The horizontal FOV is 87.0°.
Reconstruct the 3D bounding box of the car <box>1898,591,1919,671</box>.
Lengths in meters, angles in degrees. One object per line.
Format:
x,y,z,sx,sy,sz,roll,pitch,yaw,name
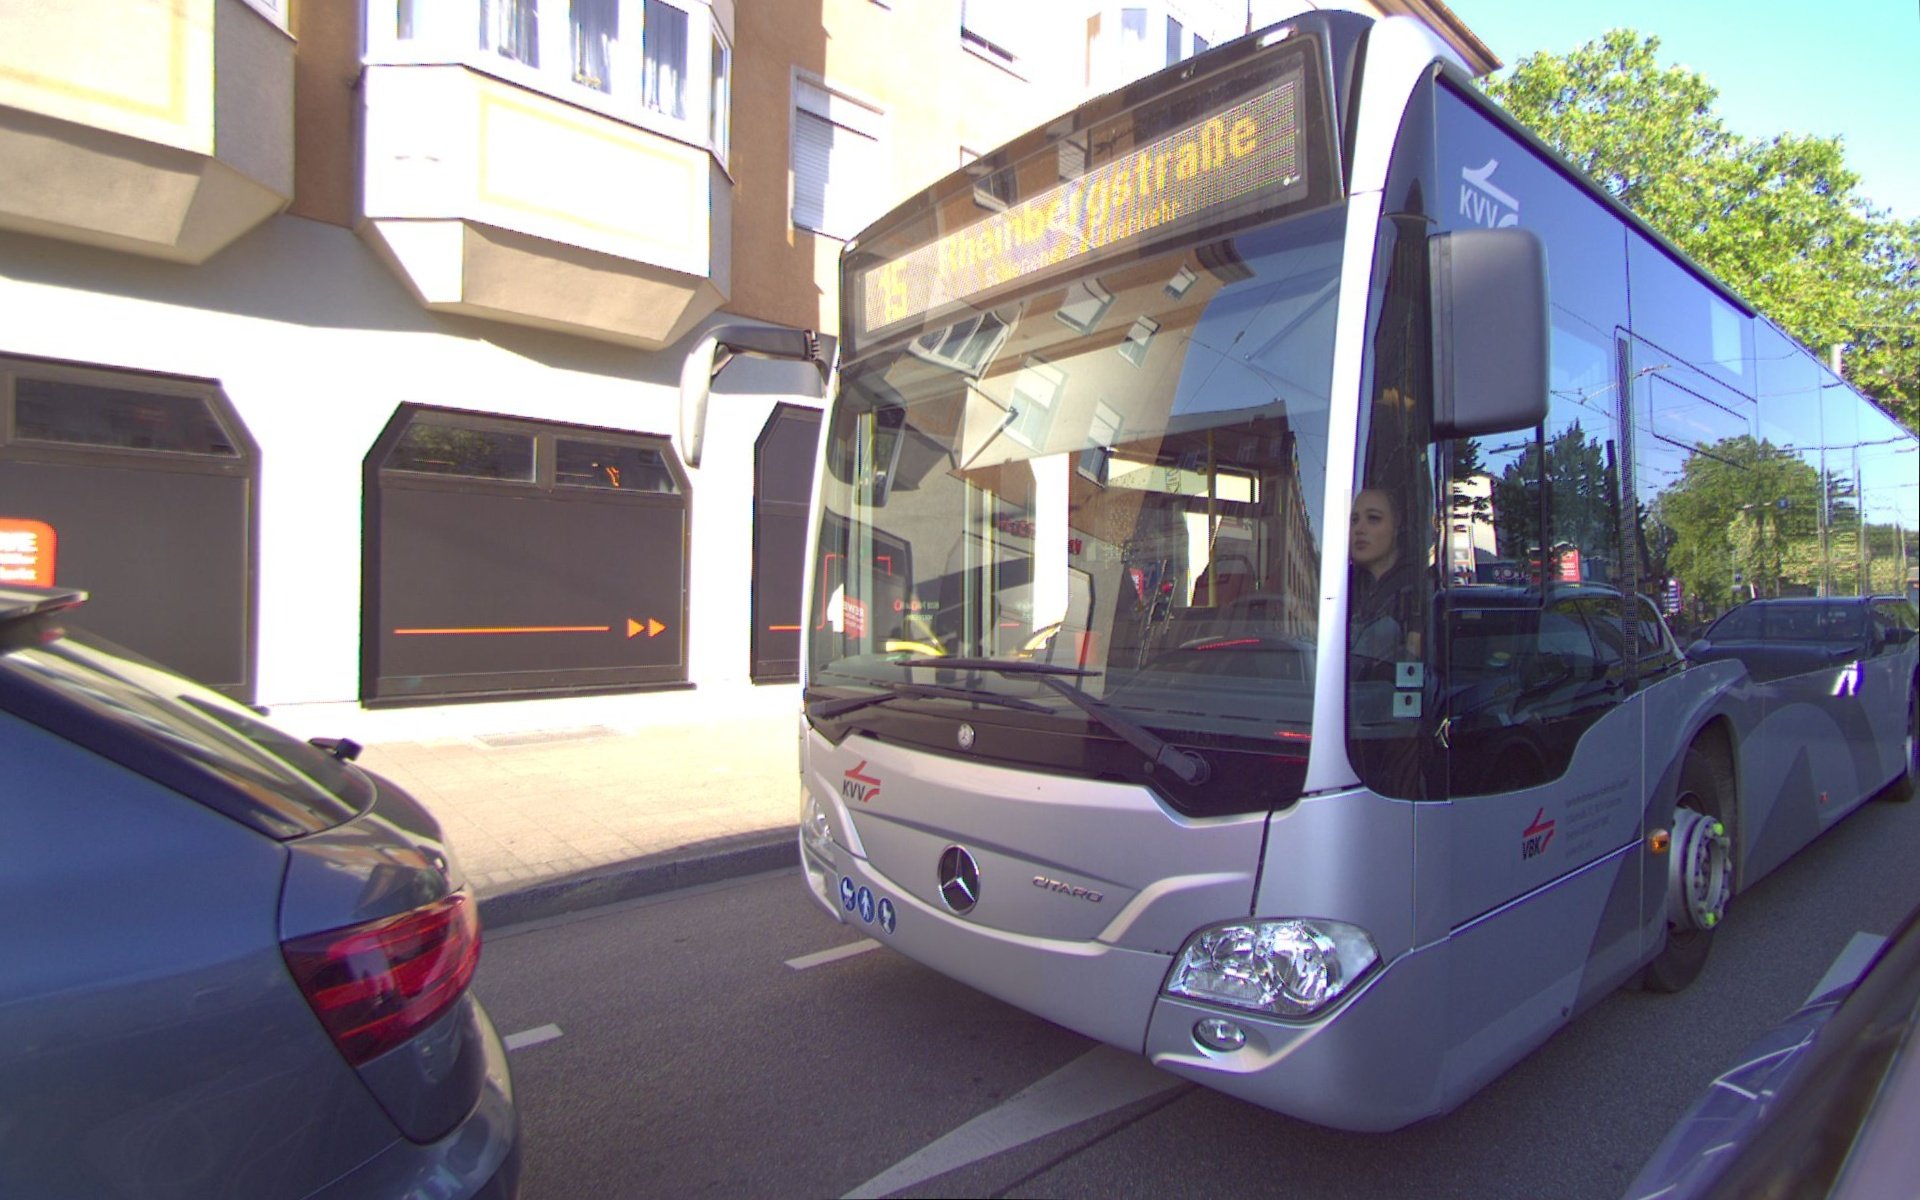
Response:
21.313,0.620,21.501,3.759,1.628,1.747,-1,0,-43,car

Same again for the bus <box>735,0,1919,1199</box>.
6.547,-0.208,8.776,17.432,3.189,2.771,0,1,-41,bus

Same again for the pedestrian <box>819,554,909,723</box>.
-0.956,0.357,10.050,0.656,1.603,0.580,0,1,-39,pedestrian

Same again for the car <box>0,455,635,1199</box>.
-2.557,0.635,0.646,4.151,1.572,1.701,0,1,-41,car
